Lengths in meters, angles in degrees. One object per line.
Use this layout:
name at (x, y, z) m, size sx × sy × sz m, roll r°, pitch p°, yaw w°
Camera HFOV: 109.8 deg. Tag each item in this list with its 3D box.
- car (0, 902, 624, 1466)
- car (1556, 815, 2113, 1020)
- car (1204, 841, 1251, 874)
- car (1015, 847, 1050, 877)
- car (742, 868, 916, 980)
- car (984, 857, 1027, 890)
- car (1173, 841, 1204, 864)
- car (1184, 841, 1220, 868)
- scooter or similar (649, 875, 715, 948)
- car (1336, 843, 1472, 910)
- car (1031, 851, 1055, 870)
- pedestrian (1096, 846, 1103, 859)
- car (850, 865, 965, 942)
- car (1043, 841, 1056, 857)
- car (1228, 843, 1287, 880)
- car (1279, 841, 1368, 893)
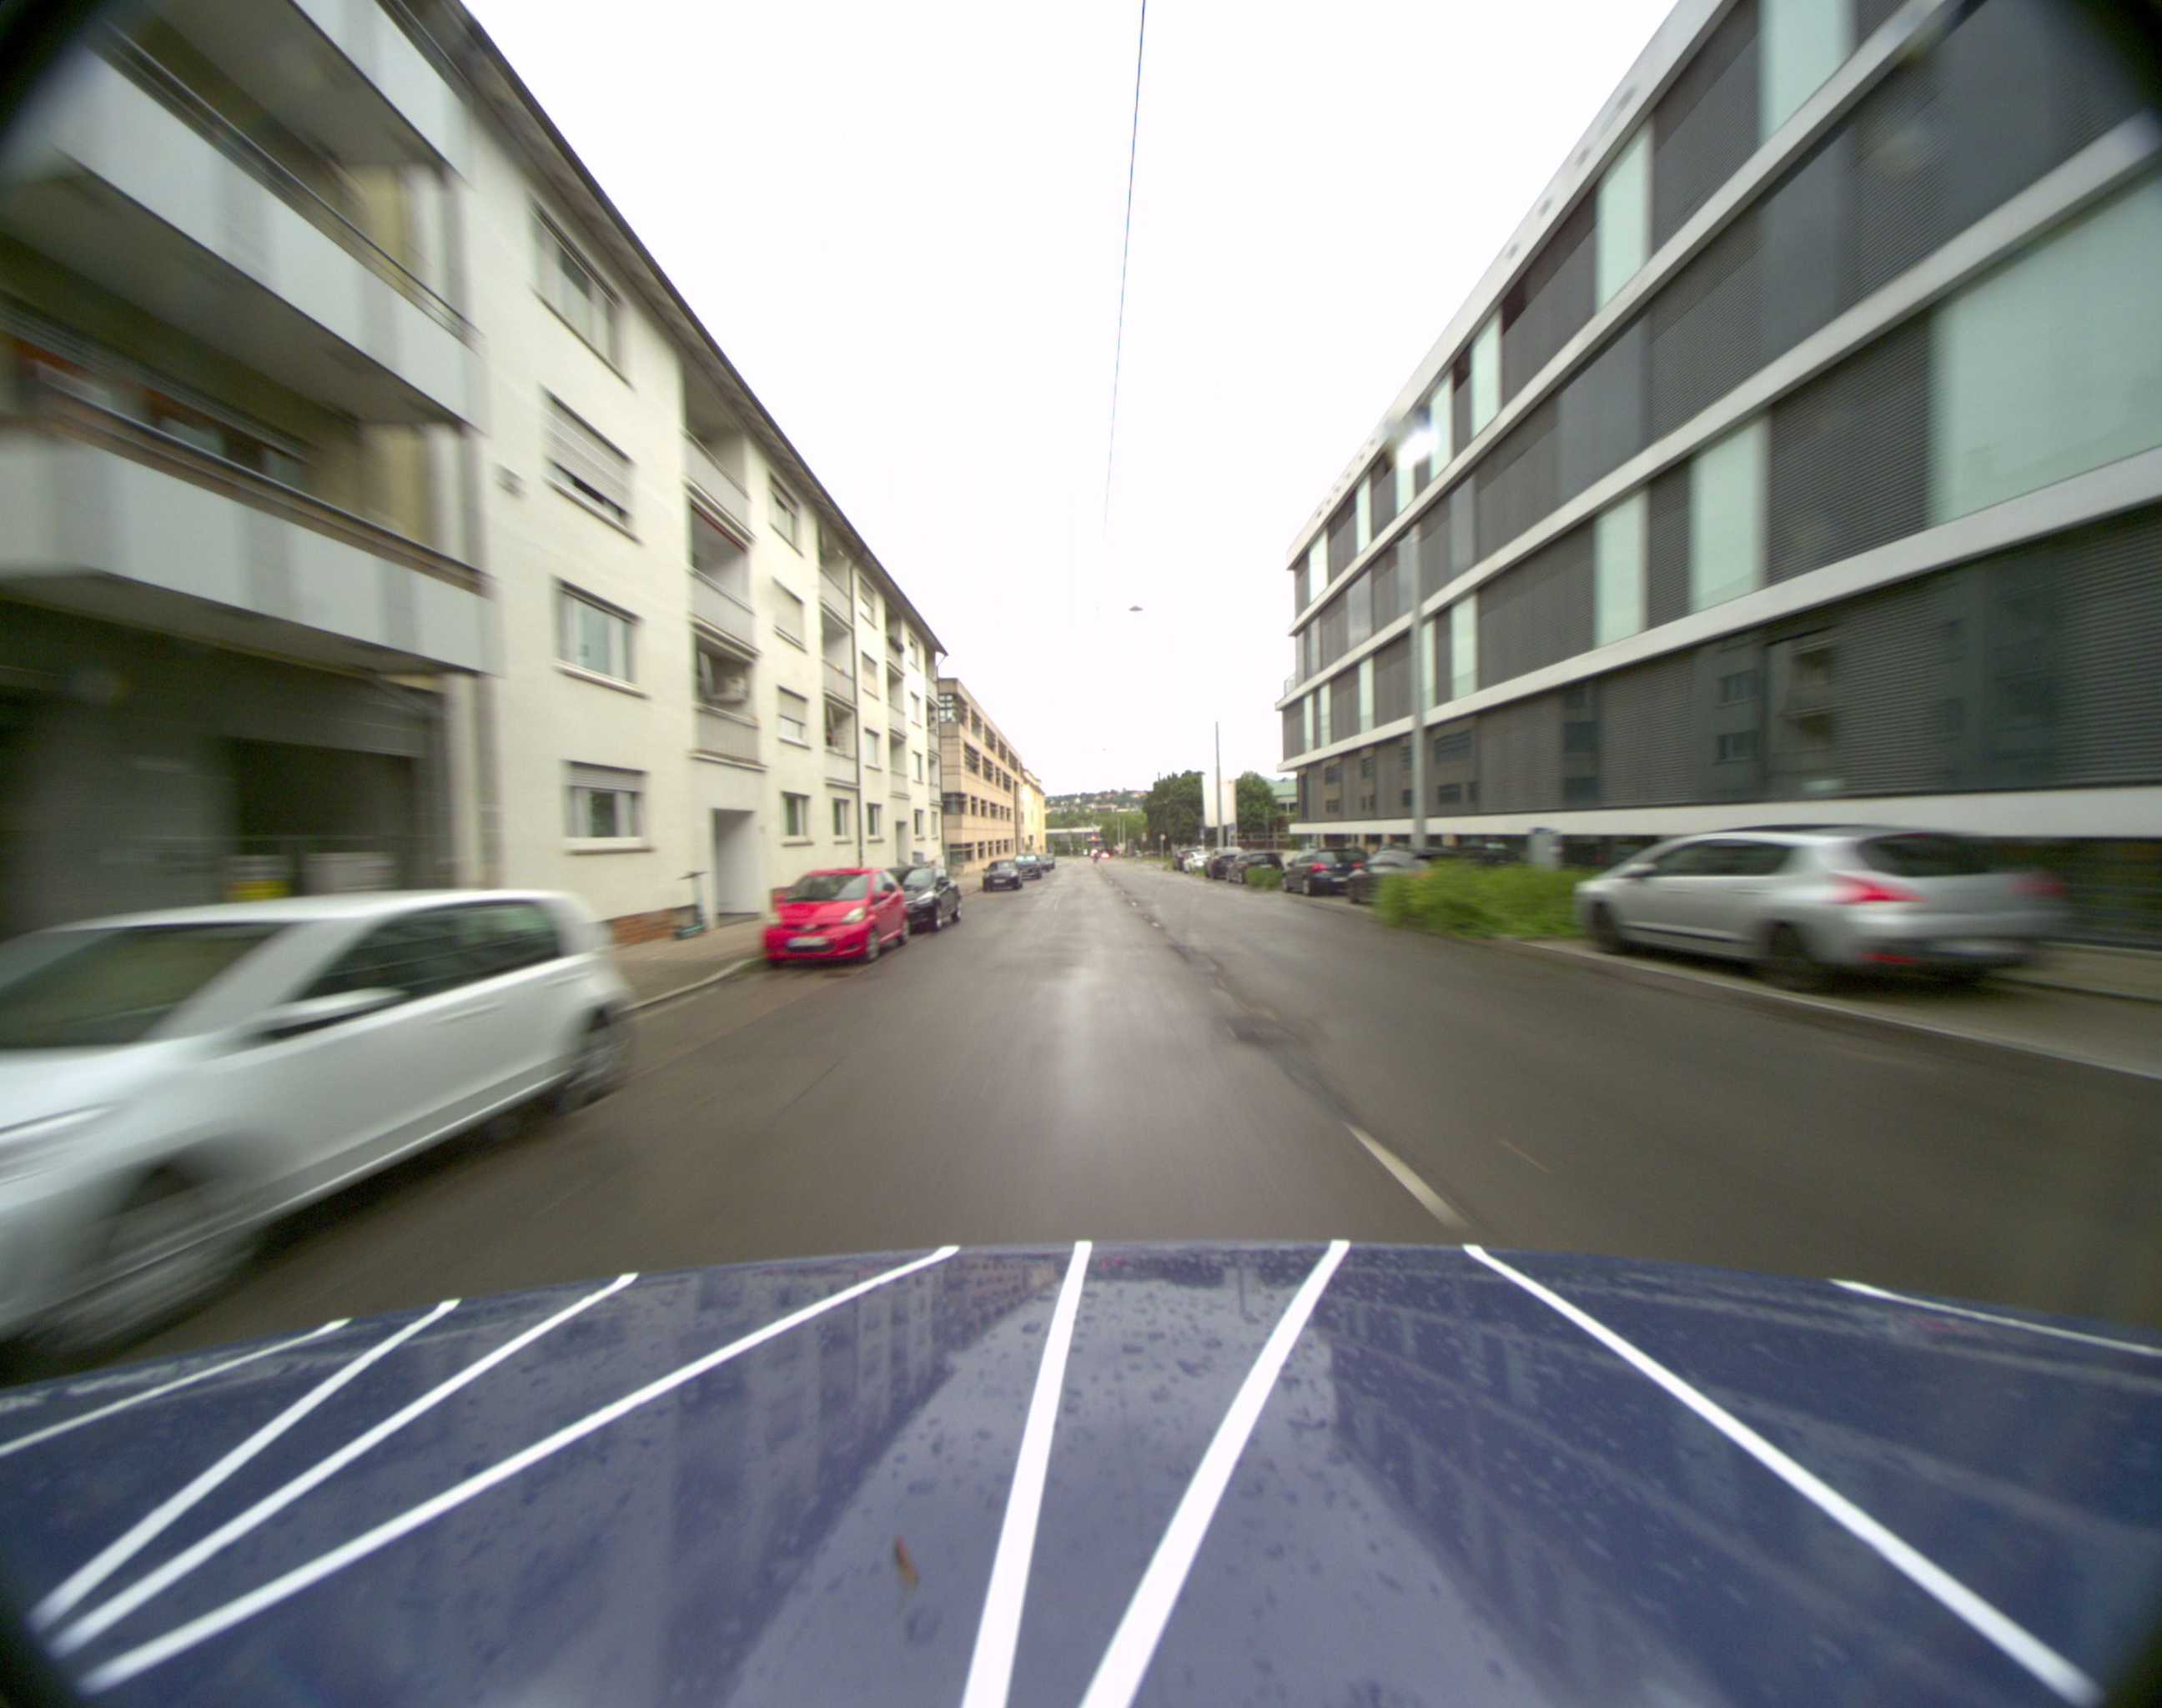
car at (-4.031, 1.105, 3.526) m, size 1.630 × 1.448 × 3.483 m, roll -2°, pitch 1°, yaw 0°
car at (7.568, 0.498, 8.432) m, size 1.835 × 1.580 × 4.362 m, roll -3°, pitch 1°, yaw 1°
car at (7.552, 0.131, 39.406) m, size 1.642 × 1.576 × 4.041 m, roll -2°, pitch 1°, yaw 1°
car at (-3.244, 0.486, 51.758) m, size 1.911 × 1.865 × 4.749 m, roll -2°, pitch 1°, yaw 1°
car at (-3.971, 1.029, 12.577) m, size 1.630 × 1.448 × 3.483 m, roll -2°, pitch 1°, yaw 0°
car at (-3.620, 0.909, 37.108) m, size 1.630 × 1.403 × 3.777 m, roll -2°, pitch 1°, yaw 1°
car at (7.904, -0.111, 56.103) m, size 1.642 × 1.576 × 4.041 m, roll -2°, pitch 1°, yaw 1°
car at (7.803, 0.006, 49.366) m, size 1.642 × 1.576 × 4.041 m, roll -2°, pitch 1°, yaw 1°
scooter or similar at (-7.347, 1.032, 14.052) m, size 0.444 × 1.224 × 1.320 m, roll -2°, pitch 1°, yaw 1°
car at (7.645, 0.457, 18.389) m, size 1.565 × 1.385 × 4.041 m, roll -2°, pitch 1°, yaw 1°
car at (-3.322, 0.527, 67.057) m, size 1.799 × 1.501 × 4.000 m, roll -2°, pitch 1°, yaw 1°
pedestrian at (2.370, -0.224, 99.157) m, size 0.651 × 1.652 × 0.649 m, roll -2°, pitch 1°, yaw -28°
car at (-3.801, 1.033, 17.249) m, size 1.630 × 1.403 × 3.777 m, roll -2°, pitch 1°, yaw 1°
car at (-5.332, -0.875, 128.951) m, size 1.891 × 2.447 × 4.512 m, roll -3°, pitch 1°, yaw 1°
car at (7.675, 0.291, 33.326) m, size 1.642 × 1.463 × 4.041 m, roll -2°, pitch 1°, yaw 1°
car at (7.661, 0.368, 24.418) m, size 1.565 × 1.463 × 4.041 m, roll -2°, pitch 1°, yaw 1°
